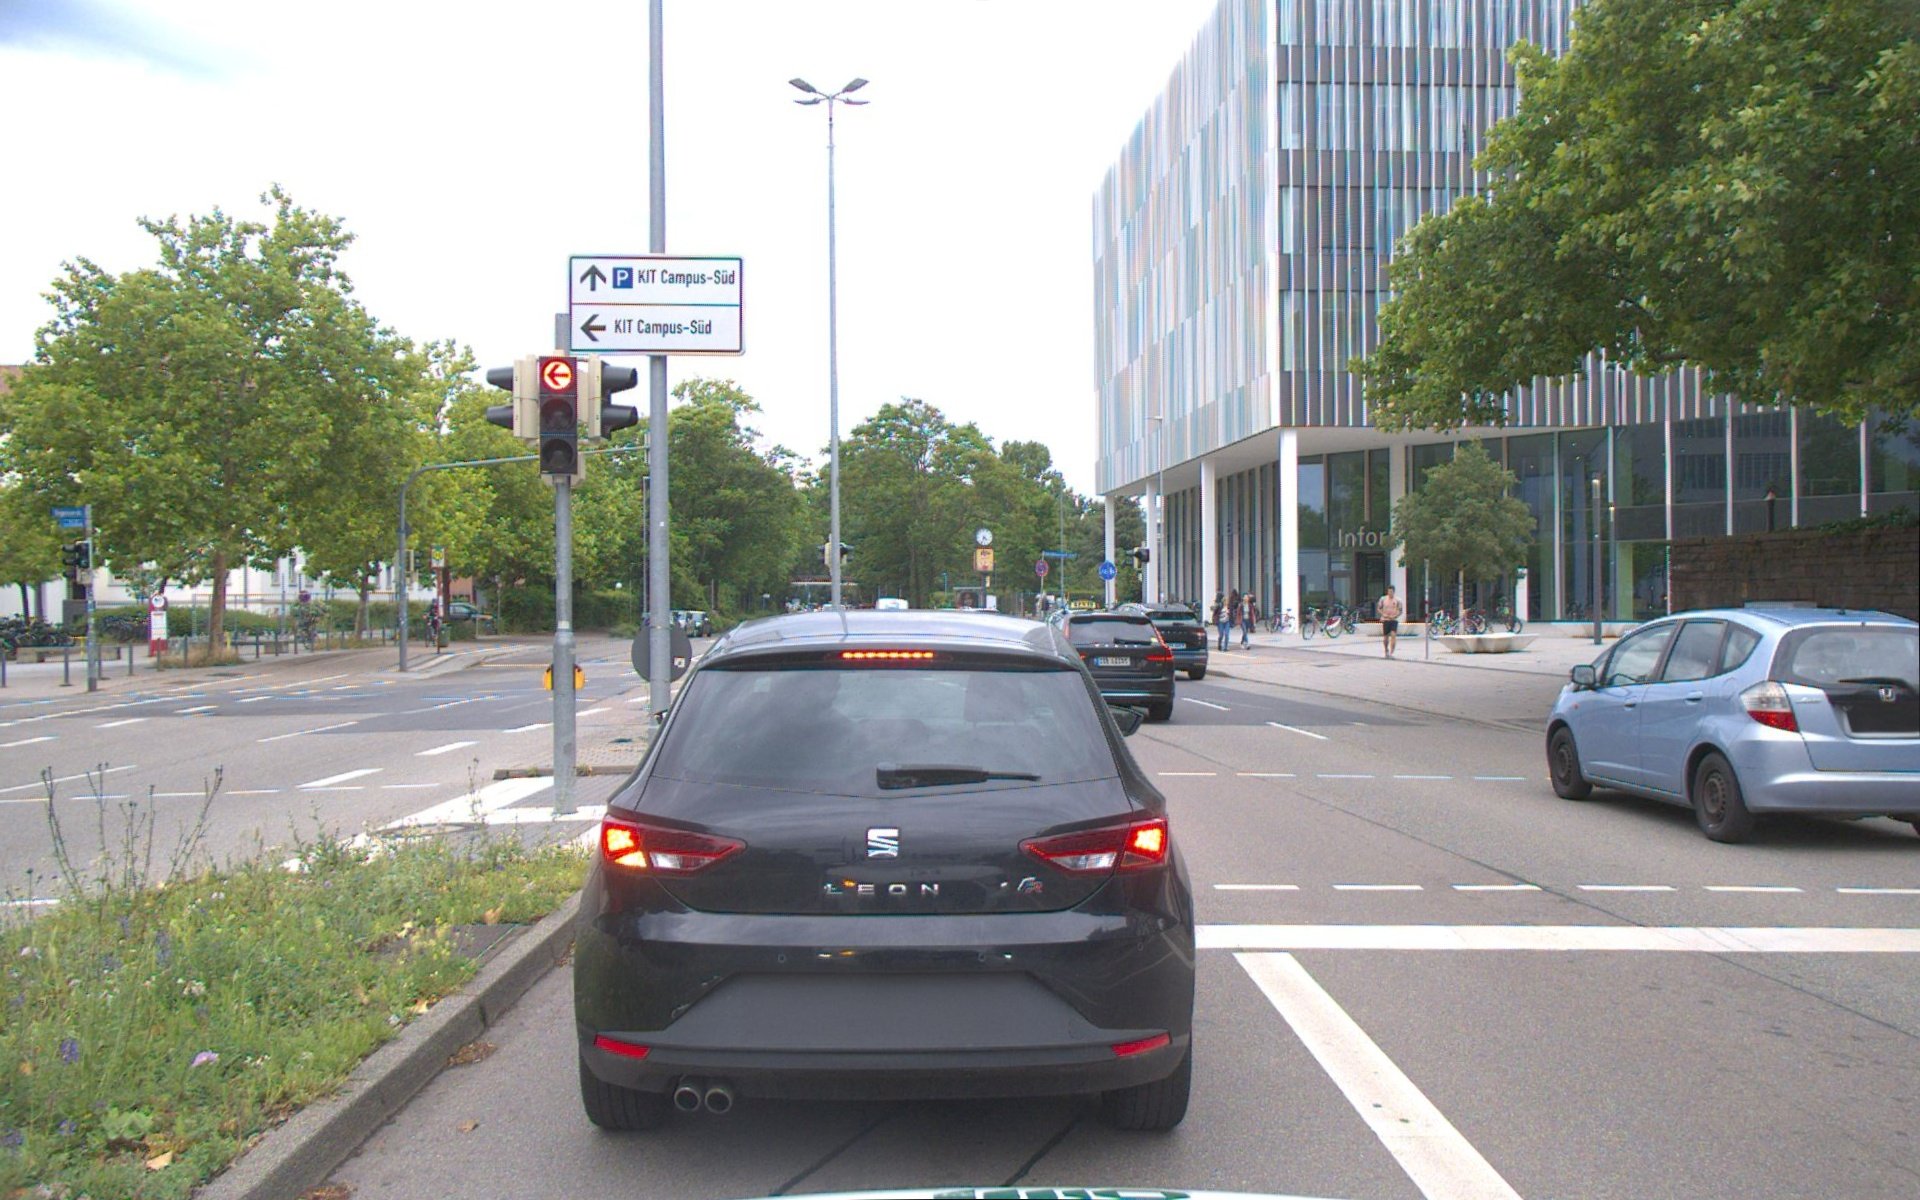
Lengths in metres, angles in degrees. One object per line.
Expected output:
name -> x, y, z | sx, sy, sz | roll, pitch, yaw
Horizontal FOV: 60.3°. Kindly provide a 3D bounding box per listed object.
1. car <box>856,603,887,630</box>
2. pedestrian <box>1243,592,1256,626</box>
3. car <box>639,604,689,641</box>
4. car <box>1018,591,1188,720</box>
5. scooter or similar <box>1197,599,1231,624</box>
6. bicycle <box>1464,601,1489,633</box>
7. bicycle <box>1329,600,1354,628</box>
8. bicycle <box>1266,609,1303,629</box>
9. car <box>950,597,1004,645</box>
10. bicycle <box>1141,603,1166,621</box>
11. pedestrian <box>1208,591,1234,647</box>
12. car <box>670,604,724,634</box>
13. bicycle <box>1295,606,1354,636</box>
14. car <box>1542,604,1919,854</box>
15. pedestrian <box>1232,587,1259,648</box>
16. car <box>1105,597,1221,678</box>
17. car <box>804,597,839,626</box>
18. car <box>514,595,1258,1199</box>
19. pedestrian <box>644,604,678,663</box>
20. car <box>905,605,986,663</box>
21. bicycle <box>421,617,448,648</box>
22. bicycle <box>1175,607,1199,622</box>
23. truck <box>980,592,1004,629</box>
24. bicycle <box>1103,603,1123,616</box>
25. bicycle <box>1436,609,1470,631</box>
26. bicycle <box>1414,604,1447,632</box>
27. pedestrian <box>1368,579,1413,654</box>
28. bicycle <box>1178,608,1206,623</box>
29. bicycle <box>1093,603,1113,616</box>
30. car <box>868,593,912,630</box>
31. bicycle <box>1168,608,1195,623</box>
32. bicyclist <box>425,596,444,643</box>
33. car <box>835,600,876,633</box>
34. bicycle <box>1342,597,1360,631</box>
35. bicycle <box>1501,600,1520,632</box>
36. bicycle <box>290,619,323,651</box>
car -> -6.275, 1.133, 117.702 | 1.953, 1.764, 4.209 | -2, 1, -1
pedestrian -> 12.050, 0.389, 68.896 | 0.462, 1.385, 0.446 | -2, 0, 9
car -> -15.354, 1.134, 86.050 | 1.868, 1.747, 3.999 | -2, 1, -1
car -> 1.901, 0.703, 23.334 | 1.845, 1.628, 4.445 | 0, 0, -2
scooter or similar -> 12.069, 0.542, 78.486 | 1.655, 1.126, 0.493 | -2, 0, -33
bicycle -> 18.711, 0.607, 59.880 | 0.792, 1.074, 1.950 | -2, 1, 19
bicycle -> 15.538, 0.557, 67.415 | 0.607, 1.064, 1.704 | -2, 1, 25
bicycle -> 13.710, 0.795, 69.876 | 1.450, 0.761, 0.565 | -2, 0, -4
car -> 0.627, 0.752, 57.819 | 1.787, 1.578, 4.527 | 1, -1, 1
bicycle -> 10.744, 0.659, 91.994 | 1.357, 0.958, 0.488 | -1, 0, 6
pedestrian -> 7.889, 0.558, 49.953 | 0.673, 1.668, 0.632 | 1, 0, -1
car -> -15.290, 1.097, 96.230 | 1.721, 1.615, 4.004 | -2, 1, 12
bicycle -> 12.421, 0.713, 56.377 | 1.860, 0.914, 0.693 | -2, 0, -22
car -> 5.623, 0.777, 11.751 | 1.633, 1.492, 3.659 | 0, 0, -1
pedestrian -> 8.623, 0.516, 49.993 | 0.673, 1.812, 0.677 | 0, 0, -1
car -> 4.447, 0.787, 36.904 | 1.869, 1.653, 4.489 | 1, 0, -2
car -> -7.994, 0.649, 95.252 | 1.698, 1.631, 4.096 | 0, 0, -10
car -> -0.124, 0.726, 5.731 | 1.717, 1.457, 3.770 | 1, 0, 1
pedestrian -> -8.366, 0.930, 46.310 | 0.858, 1.614, 0.542 | -2, 0, -8
car -> -0.429, 0.879, 44.748 | 1.747, 1.488, 3.865 | 0, 0, -7
bicycle -> -18.638, 1.147, 58.655 | 0.478, 1.023, 1.589 | 1, 1, -1
bicycle -> 12.043, 0.770, 87.739 | 1.246, 0.717, 0.485 | -2, 0, 6
truck -> 2.052, 0.653, 106.590 | 1.291, 2.282, 3.401 | -2, 0, -1
bicycle -> 9.912, 0.601, 107.004 | 1.218, 0.837, 0.479 | 2, -1, -23
bicycle -> 18.152, 0.742, 60.873 | 1.515, 0.728, 0.511 | -3, 1, -44
bicycle -> 17.479, 0.665, 61.429 | 0.682, 0.963, 1.981 | -2, 1, 29
pedestrian -> 10.568, 0.400, 40.647 | 0.830, 1.795, 0.767 | -2, 0, -1
bicycle -> 11.831, 0.793, 84.365 | 1.346, 0.717, 0.416 | -2, 0, 2
bicycle -> 9.417, 0.629, 109.097 | 1.241, 0.863, 0.479 | 2, -1, -23
car -> -3.981, 0.622, 93.166 | 1.930, 2.007, 4.333 | 1, 0, -10
bicycle -> 11.546, 0.826, 86.157 | 1.345, 0.717, 0.489 | -2, 0, 8
bicyclist -> -18.626, 0.697, 58.641 | 0.481, 1.653, 0.588 | 1, 1, -1
car -> -4.853, 0.747, 76.429 | 1.689, 1.439, 4.240 | 1, 1, -6
bicycle -> 15.287, 0.527, 64.618 | 0.515, 1.275, 1.667 | -2, 0, 17
bicycle -> 19.617, 0.573, 58.969 | 0.609, 1.074, 1.950 | -2, 1, 19
bicycle -> -23.518, 1.248, 59.536 | 0.596, 1.079, 2.041 | -2, 0, -7
